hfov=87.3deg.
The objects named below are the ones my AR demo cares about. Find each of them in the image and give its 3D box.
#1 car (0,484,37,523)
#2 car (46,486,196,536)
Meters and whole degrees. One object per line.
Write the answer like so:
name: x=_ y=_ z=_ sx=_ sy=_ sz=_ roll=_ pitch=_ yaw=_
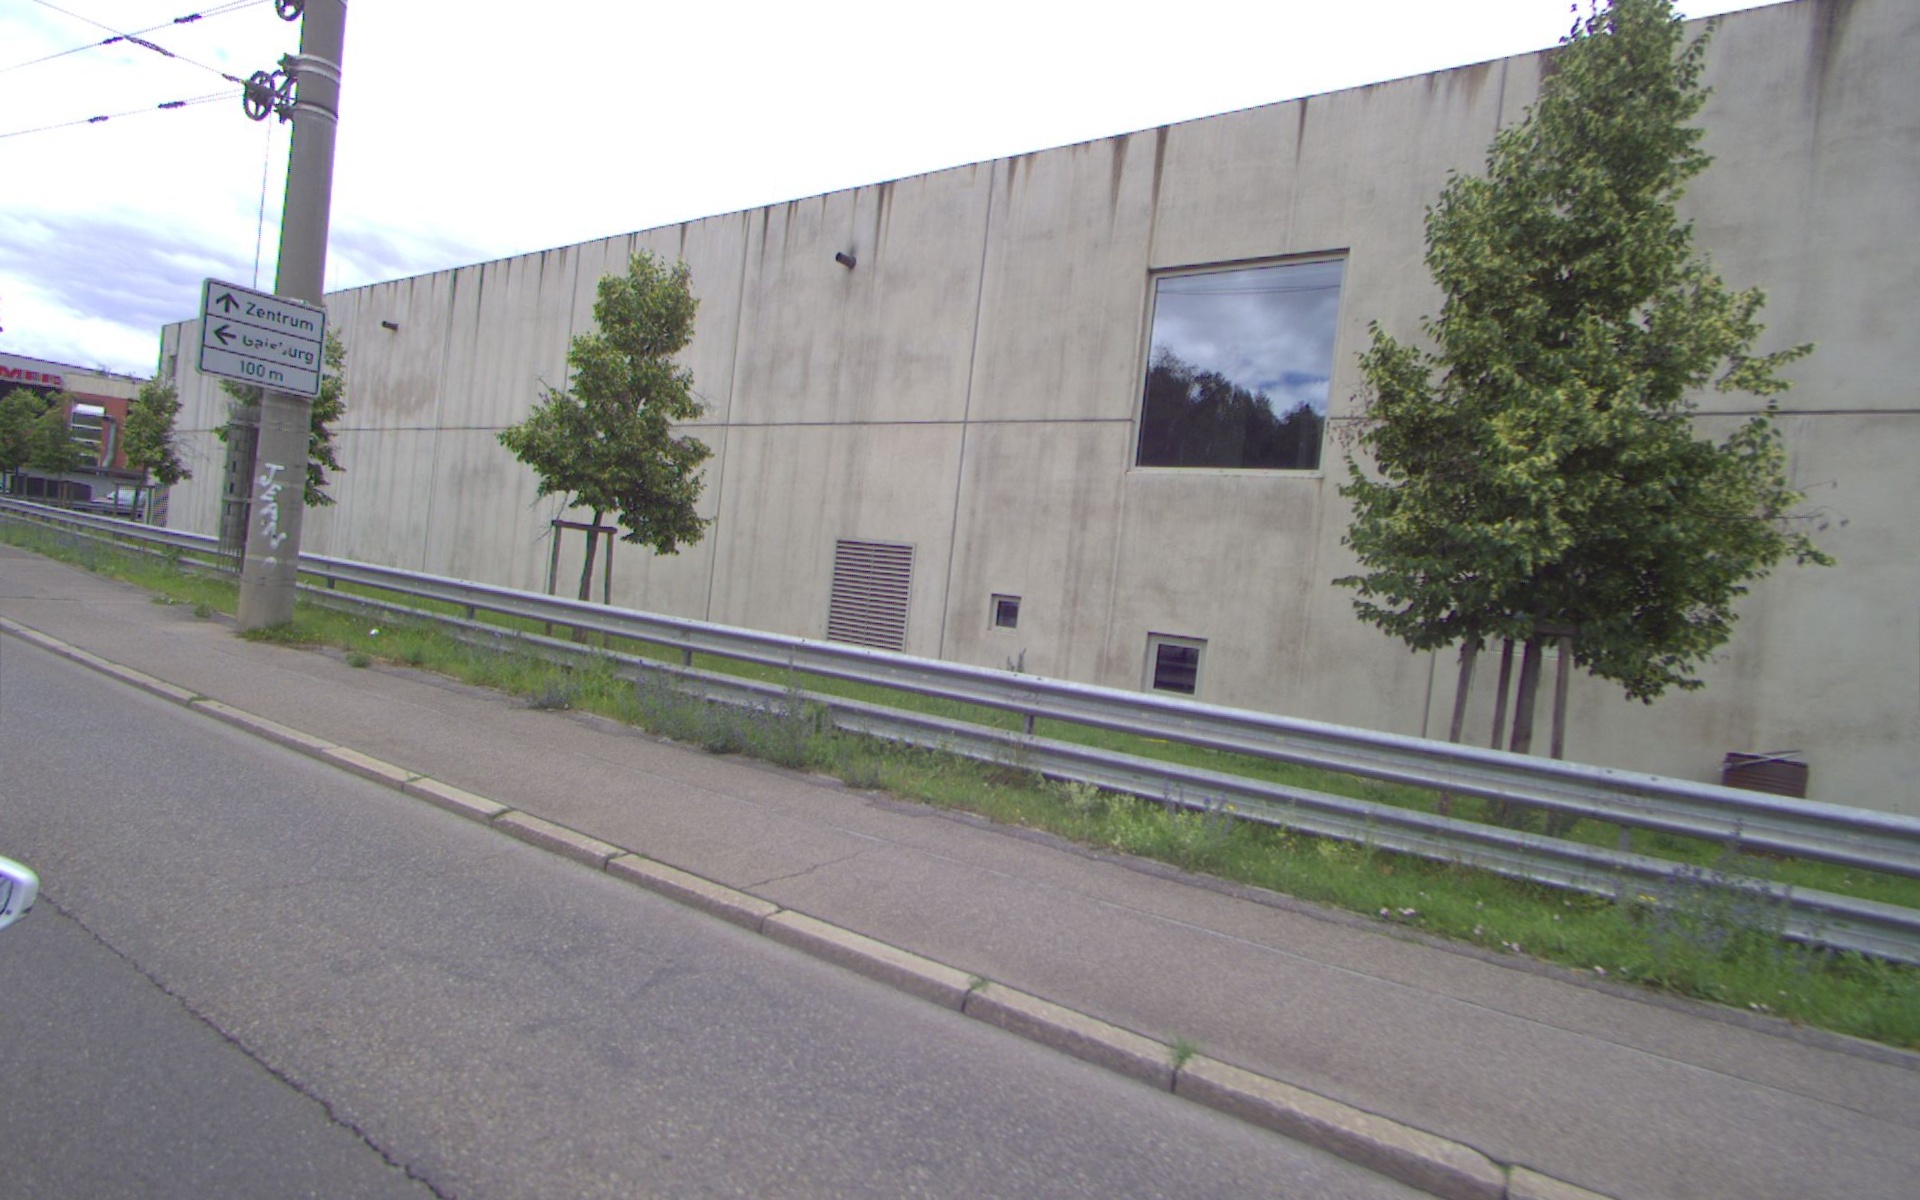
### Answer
car: x=-40.875 y=-4.201 z=41.128 sx=4.178 sy=1.461 sz=1.753 roll=7 pitch=0 yaw=-24
car: x=-36.289 y=-3.811 z=43.667 sx=2.120 sy=1.568 sz=4.520 roll=5 pitch=0 yaw=16
